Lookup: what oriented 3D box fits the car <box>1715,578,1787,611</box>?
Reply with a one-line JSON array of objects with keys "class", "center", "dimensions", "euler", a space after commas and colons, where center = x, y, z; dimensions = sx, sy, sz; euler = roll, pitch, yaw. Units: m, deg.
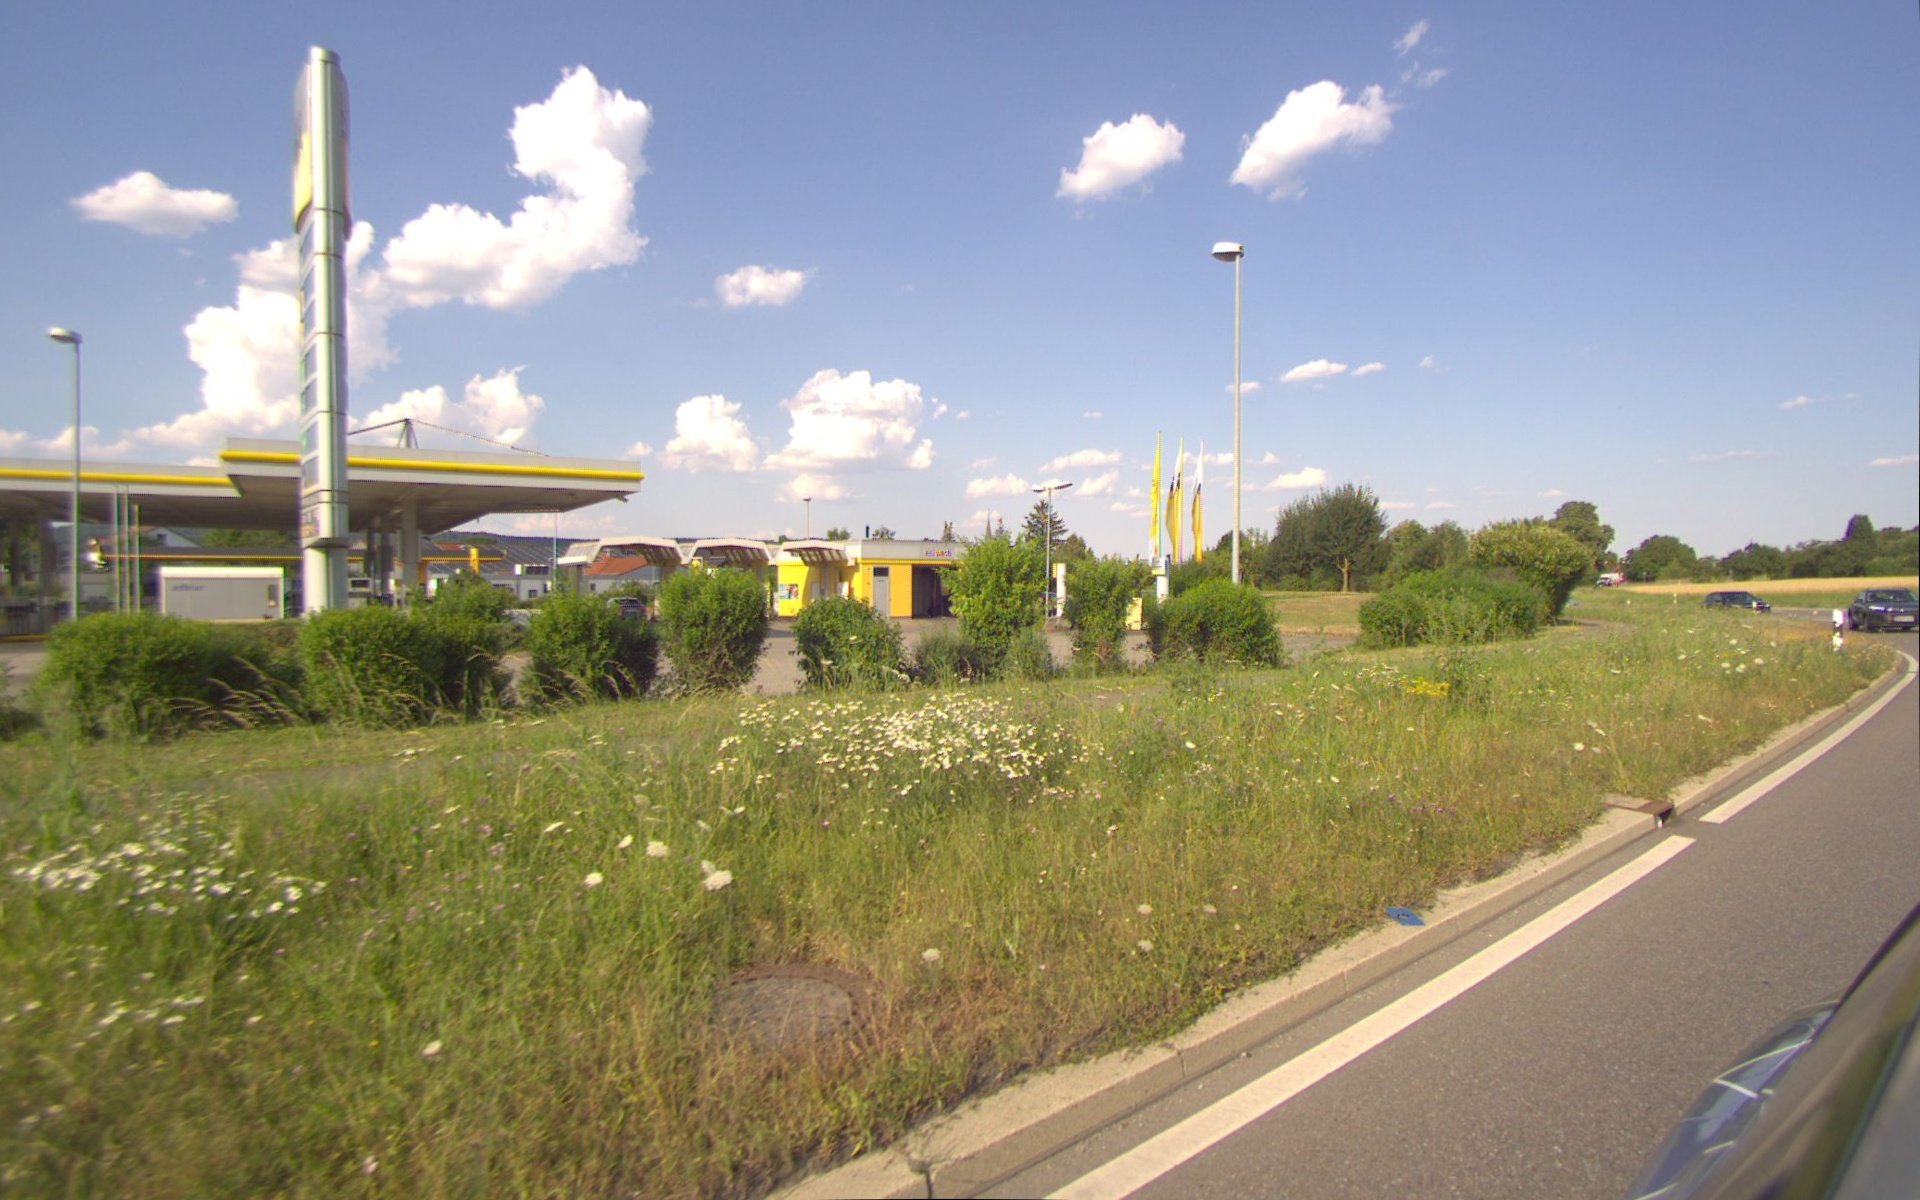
[{"class": "car", "center": [42.647, -0.293, 54.655], "dimensions": [1.755, 1.633, 4.515], "euler": [-2, 0, 21]}]

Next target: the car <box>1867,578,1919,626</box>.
[{"class": "car", "center": [35.570, 0.034, 38.082], "dimensions": [1.779, 1.650, 4.408], "euler": [-3, 0, 38]}]

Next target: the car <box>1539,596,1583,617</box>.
[{"class": "car", "center": [44.327, 0.467, 74.710], "dimensions": [1.494, 1.525, 2.753], "euler": [-2, 0, -2]}]

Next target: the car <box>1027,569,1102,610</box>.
[{"class": "car", "center": [5.849, -0.582, 56.768], "dimensions": [3.664, 2.141, 1.898], "euler": [-3, 0, 34]}]

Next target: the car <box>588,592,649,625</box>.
[{"class": "car", "center": [-17.383, 0.457, 51.426], "dimensions": [1.769, 1.558, 4.342], "euler": [-1, 0, -35]}]
